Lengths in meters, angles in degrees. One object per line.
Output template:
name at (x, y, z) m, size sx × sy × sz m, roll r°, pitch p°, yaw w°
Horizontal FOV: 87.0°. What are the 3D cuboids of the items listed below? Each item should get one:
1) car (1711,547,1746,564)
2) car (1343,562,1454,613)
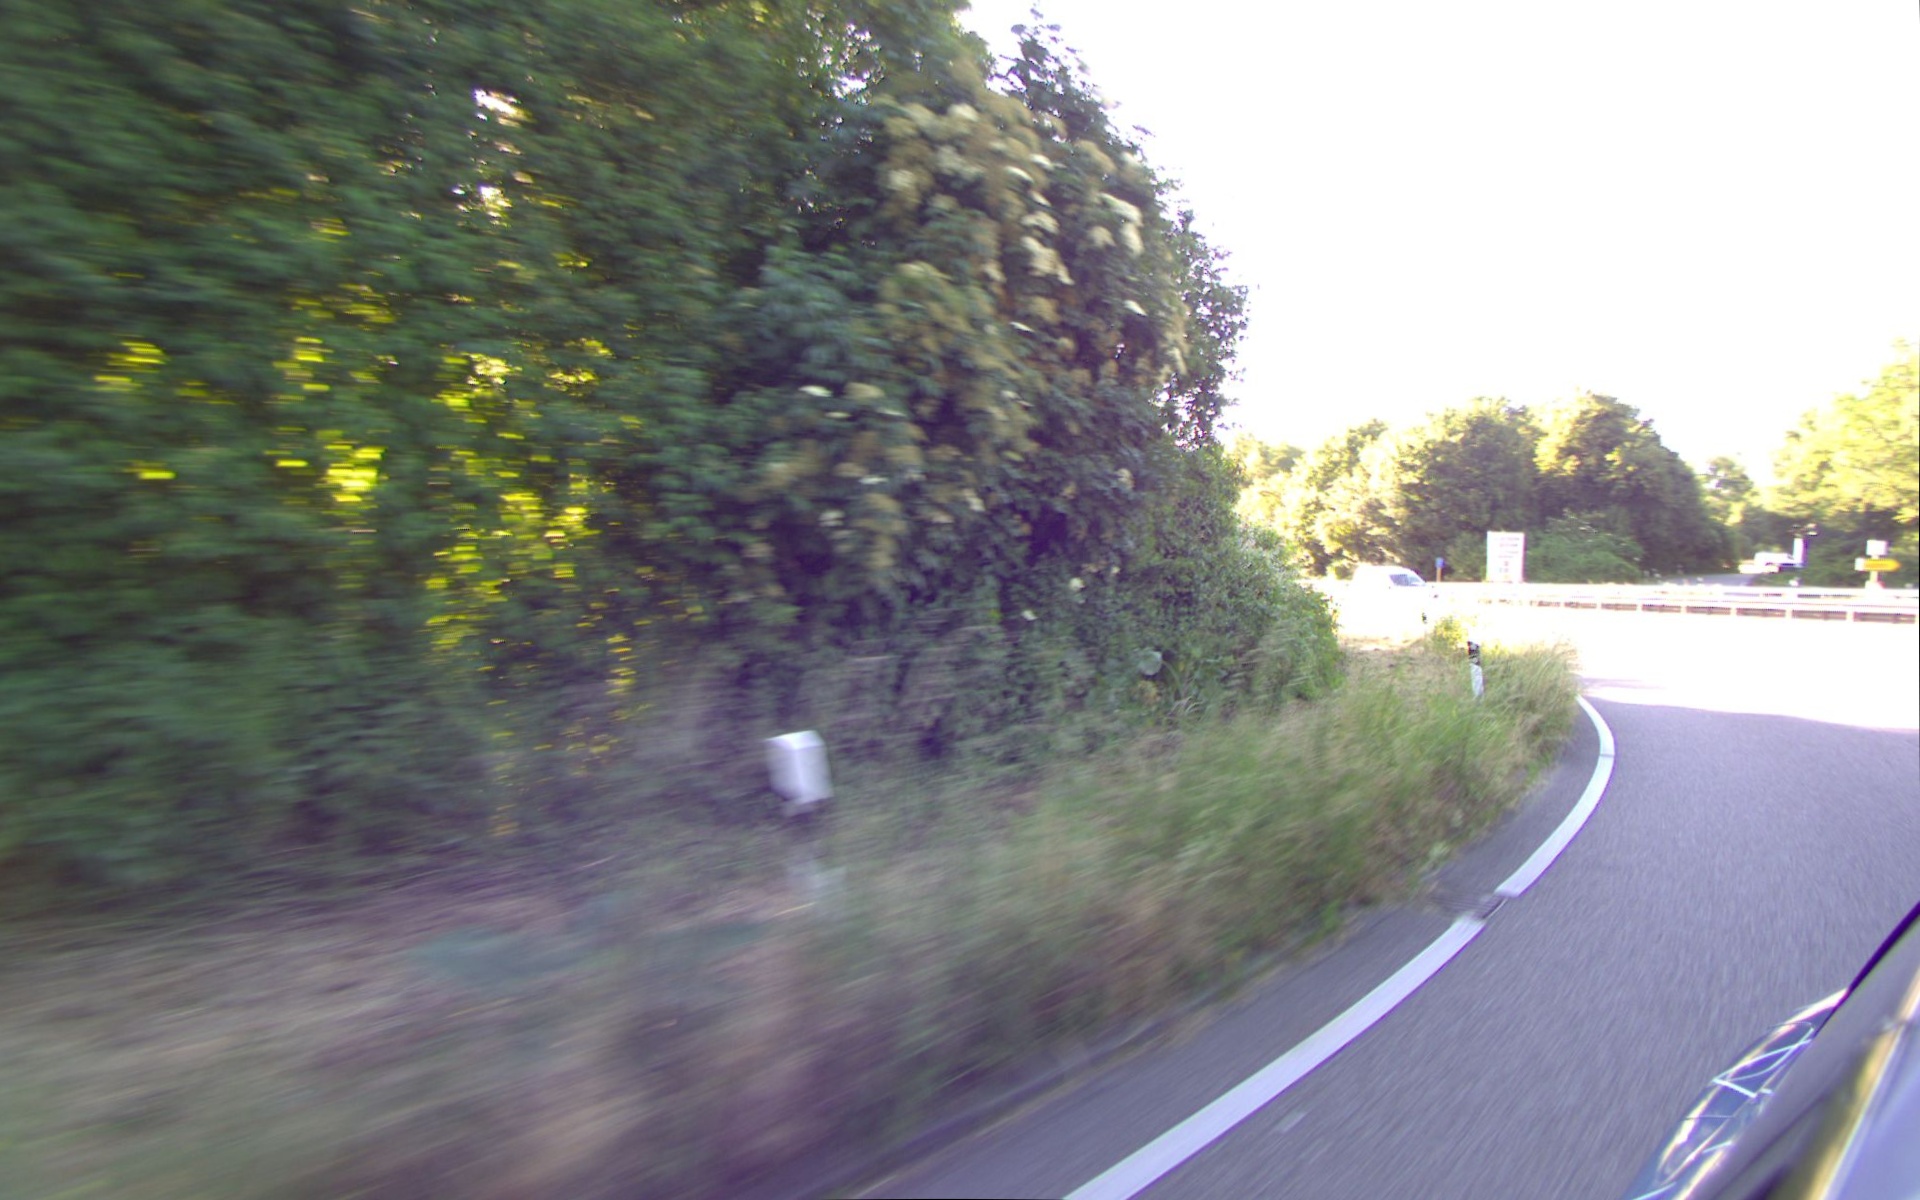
car at (85.679, -5.002, 112.783) m, size 4.581 × 1.882 × 1.999 m, roll -3°, pitch 3°, yaw -38°
car at (17.491, -0.574, 40.641) m, size 1.764 × 1.828 × 4.843 m, roll -1°, pitch 3°, yaw -8°
